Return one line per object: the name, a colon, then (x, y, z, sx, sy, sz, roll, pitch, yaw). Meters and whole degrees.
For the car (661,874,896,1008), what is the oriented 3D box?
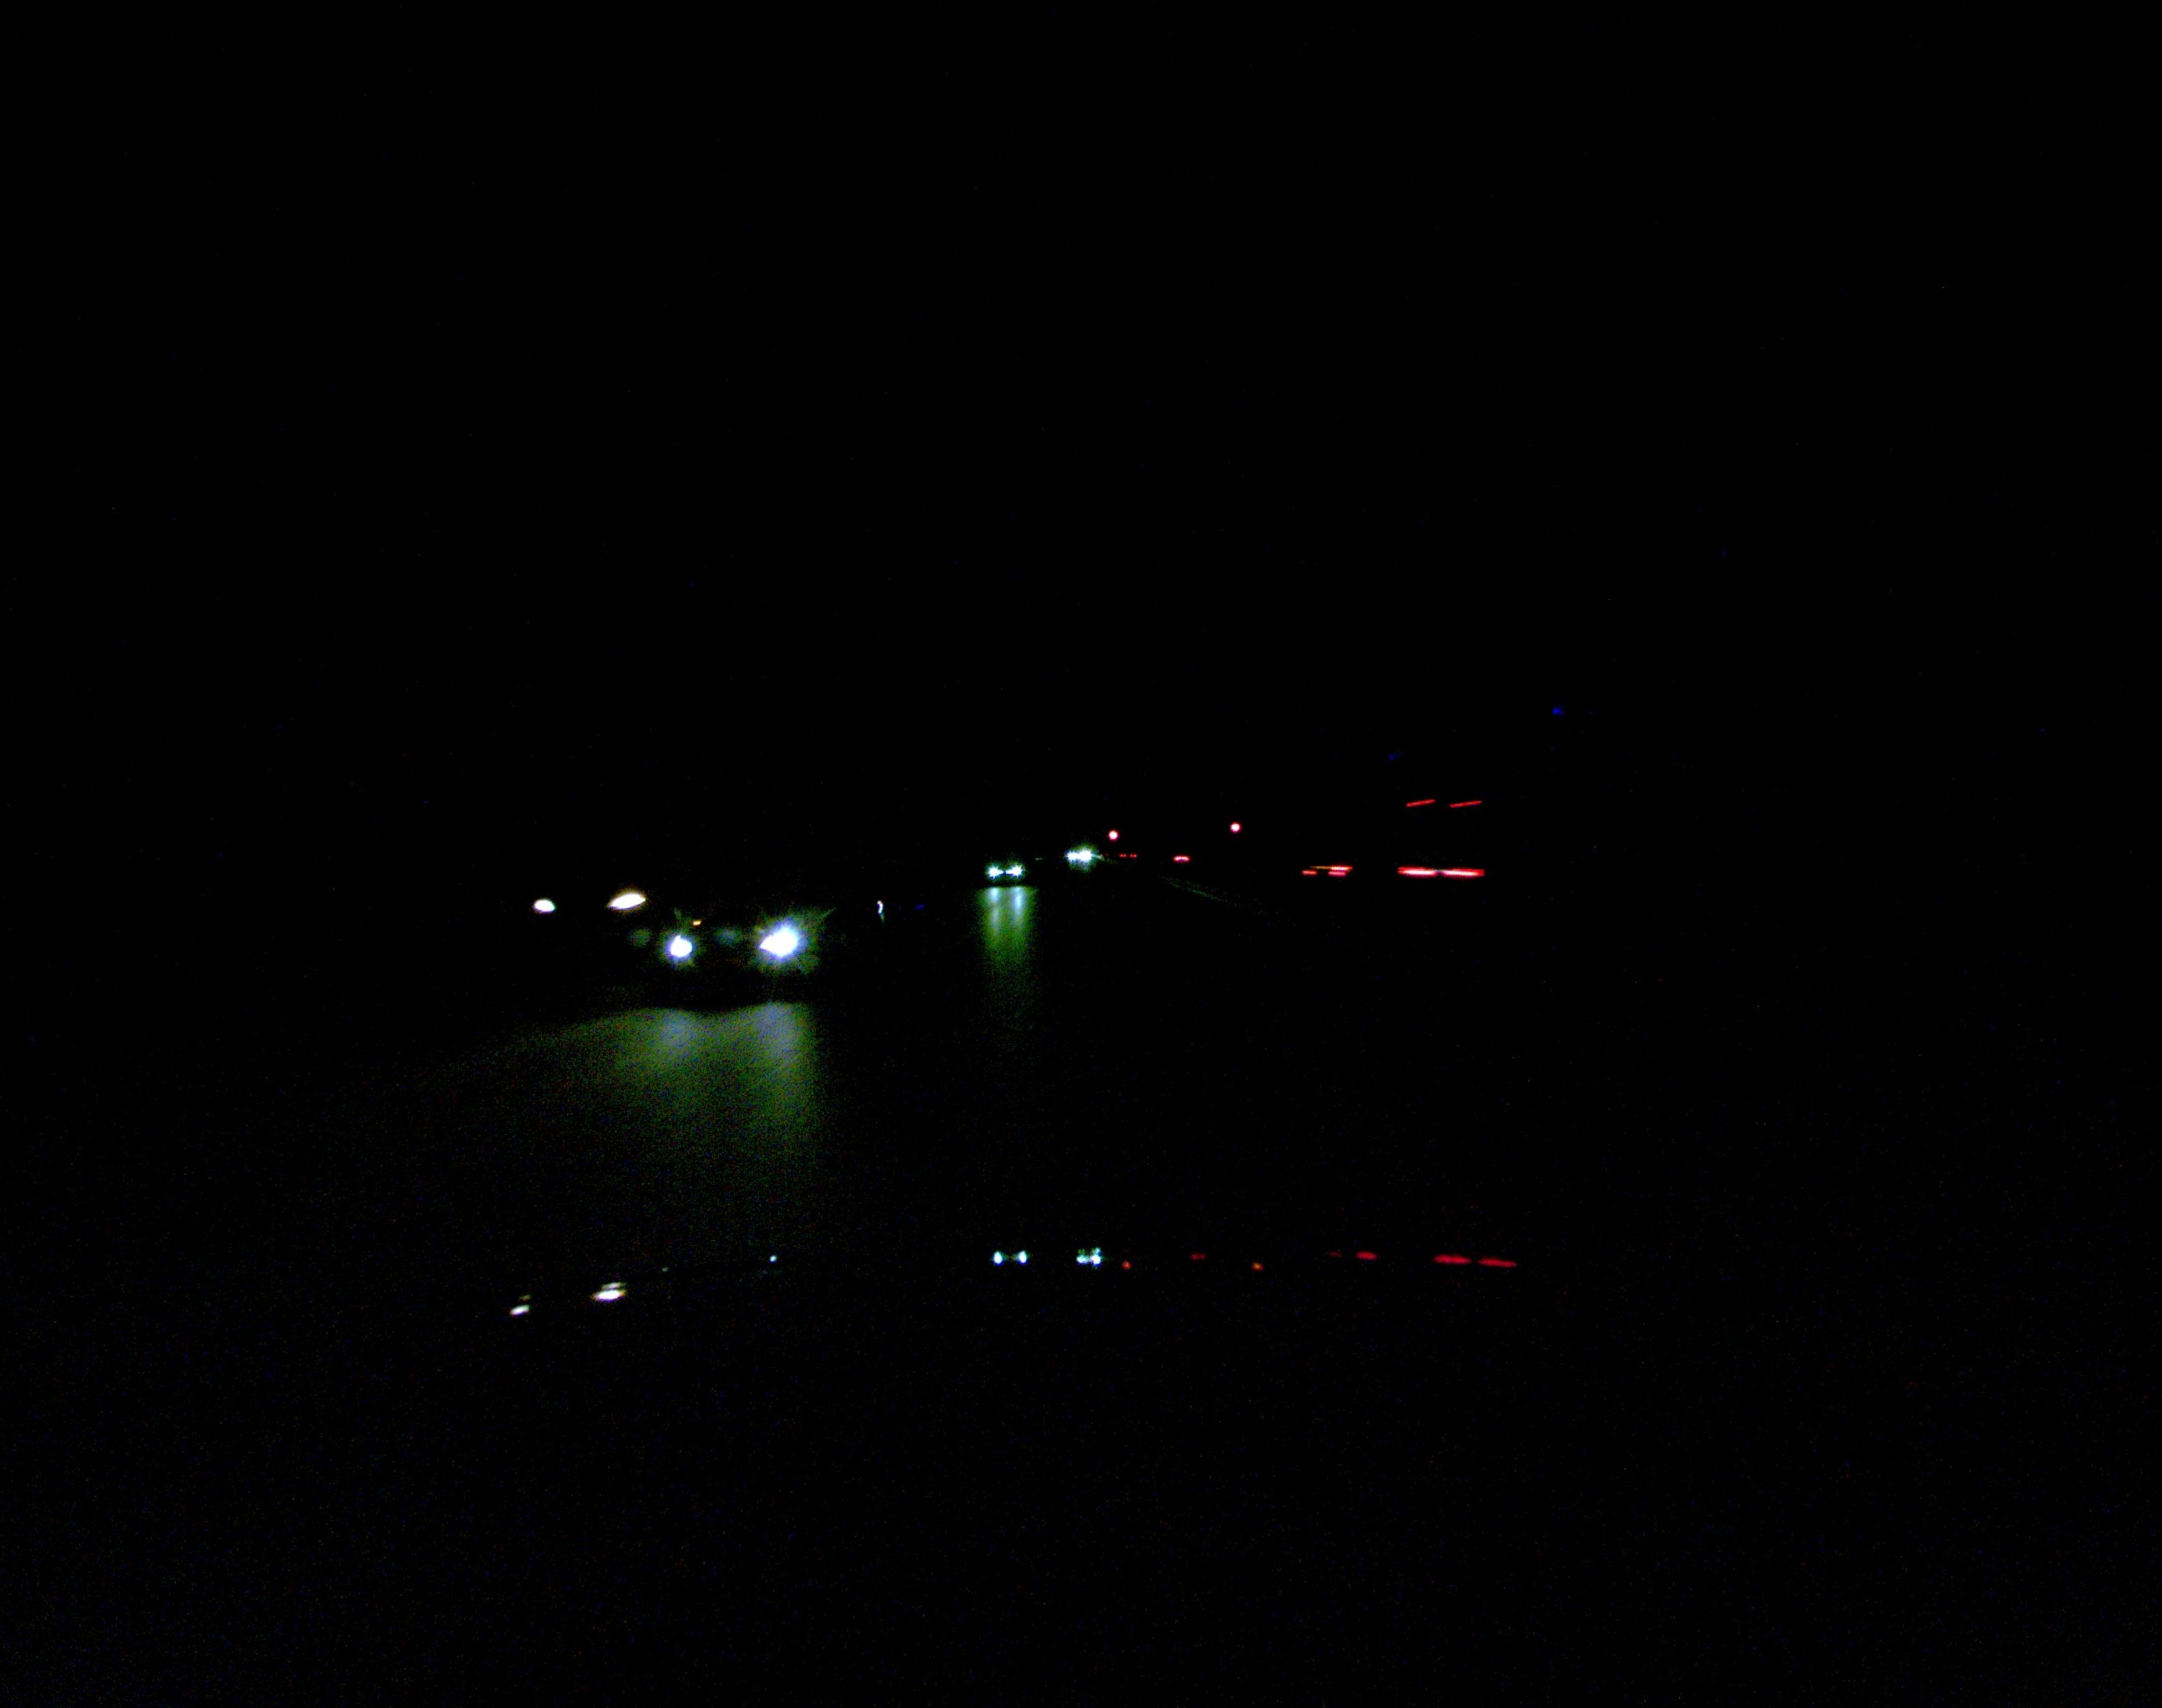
car: (-4.124, 1.090, 11.187, 1.690, 1.405, 4.225, -1, 1, 1)

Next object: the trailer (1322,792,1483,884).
trailer: (16.752, -0.791, 41.337, 2.867, 4.152, 13.902, 1, 1, 0)

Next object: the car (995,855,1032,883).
car: (-4.050, 0.892, 46.084, 1.795, 1.532, 4.225, -2, 0, 1)

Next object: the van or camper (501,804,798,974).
van or camper: (-8.441, 0.574, 16.043, 2.212, 2.755, 6.804, -2, 0, 1)

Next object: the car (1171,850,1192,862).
car: (13.526, 0.257, 102.408, 1.999, 1.453, 4.690, 0, 1, -2)

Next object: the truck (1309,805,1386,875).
truck: (16.779, -0.863, 48.219, 2.761, 4.188, 5.825, 0, 1, 0)
